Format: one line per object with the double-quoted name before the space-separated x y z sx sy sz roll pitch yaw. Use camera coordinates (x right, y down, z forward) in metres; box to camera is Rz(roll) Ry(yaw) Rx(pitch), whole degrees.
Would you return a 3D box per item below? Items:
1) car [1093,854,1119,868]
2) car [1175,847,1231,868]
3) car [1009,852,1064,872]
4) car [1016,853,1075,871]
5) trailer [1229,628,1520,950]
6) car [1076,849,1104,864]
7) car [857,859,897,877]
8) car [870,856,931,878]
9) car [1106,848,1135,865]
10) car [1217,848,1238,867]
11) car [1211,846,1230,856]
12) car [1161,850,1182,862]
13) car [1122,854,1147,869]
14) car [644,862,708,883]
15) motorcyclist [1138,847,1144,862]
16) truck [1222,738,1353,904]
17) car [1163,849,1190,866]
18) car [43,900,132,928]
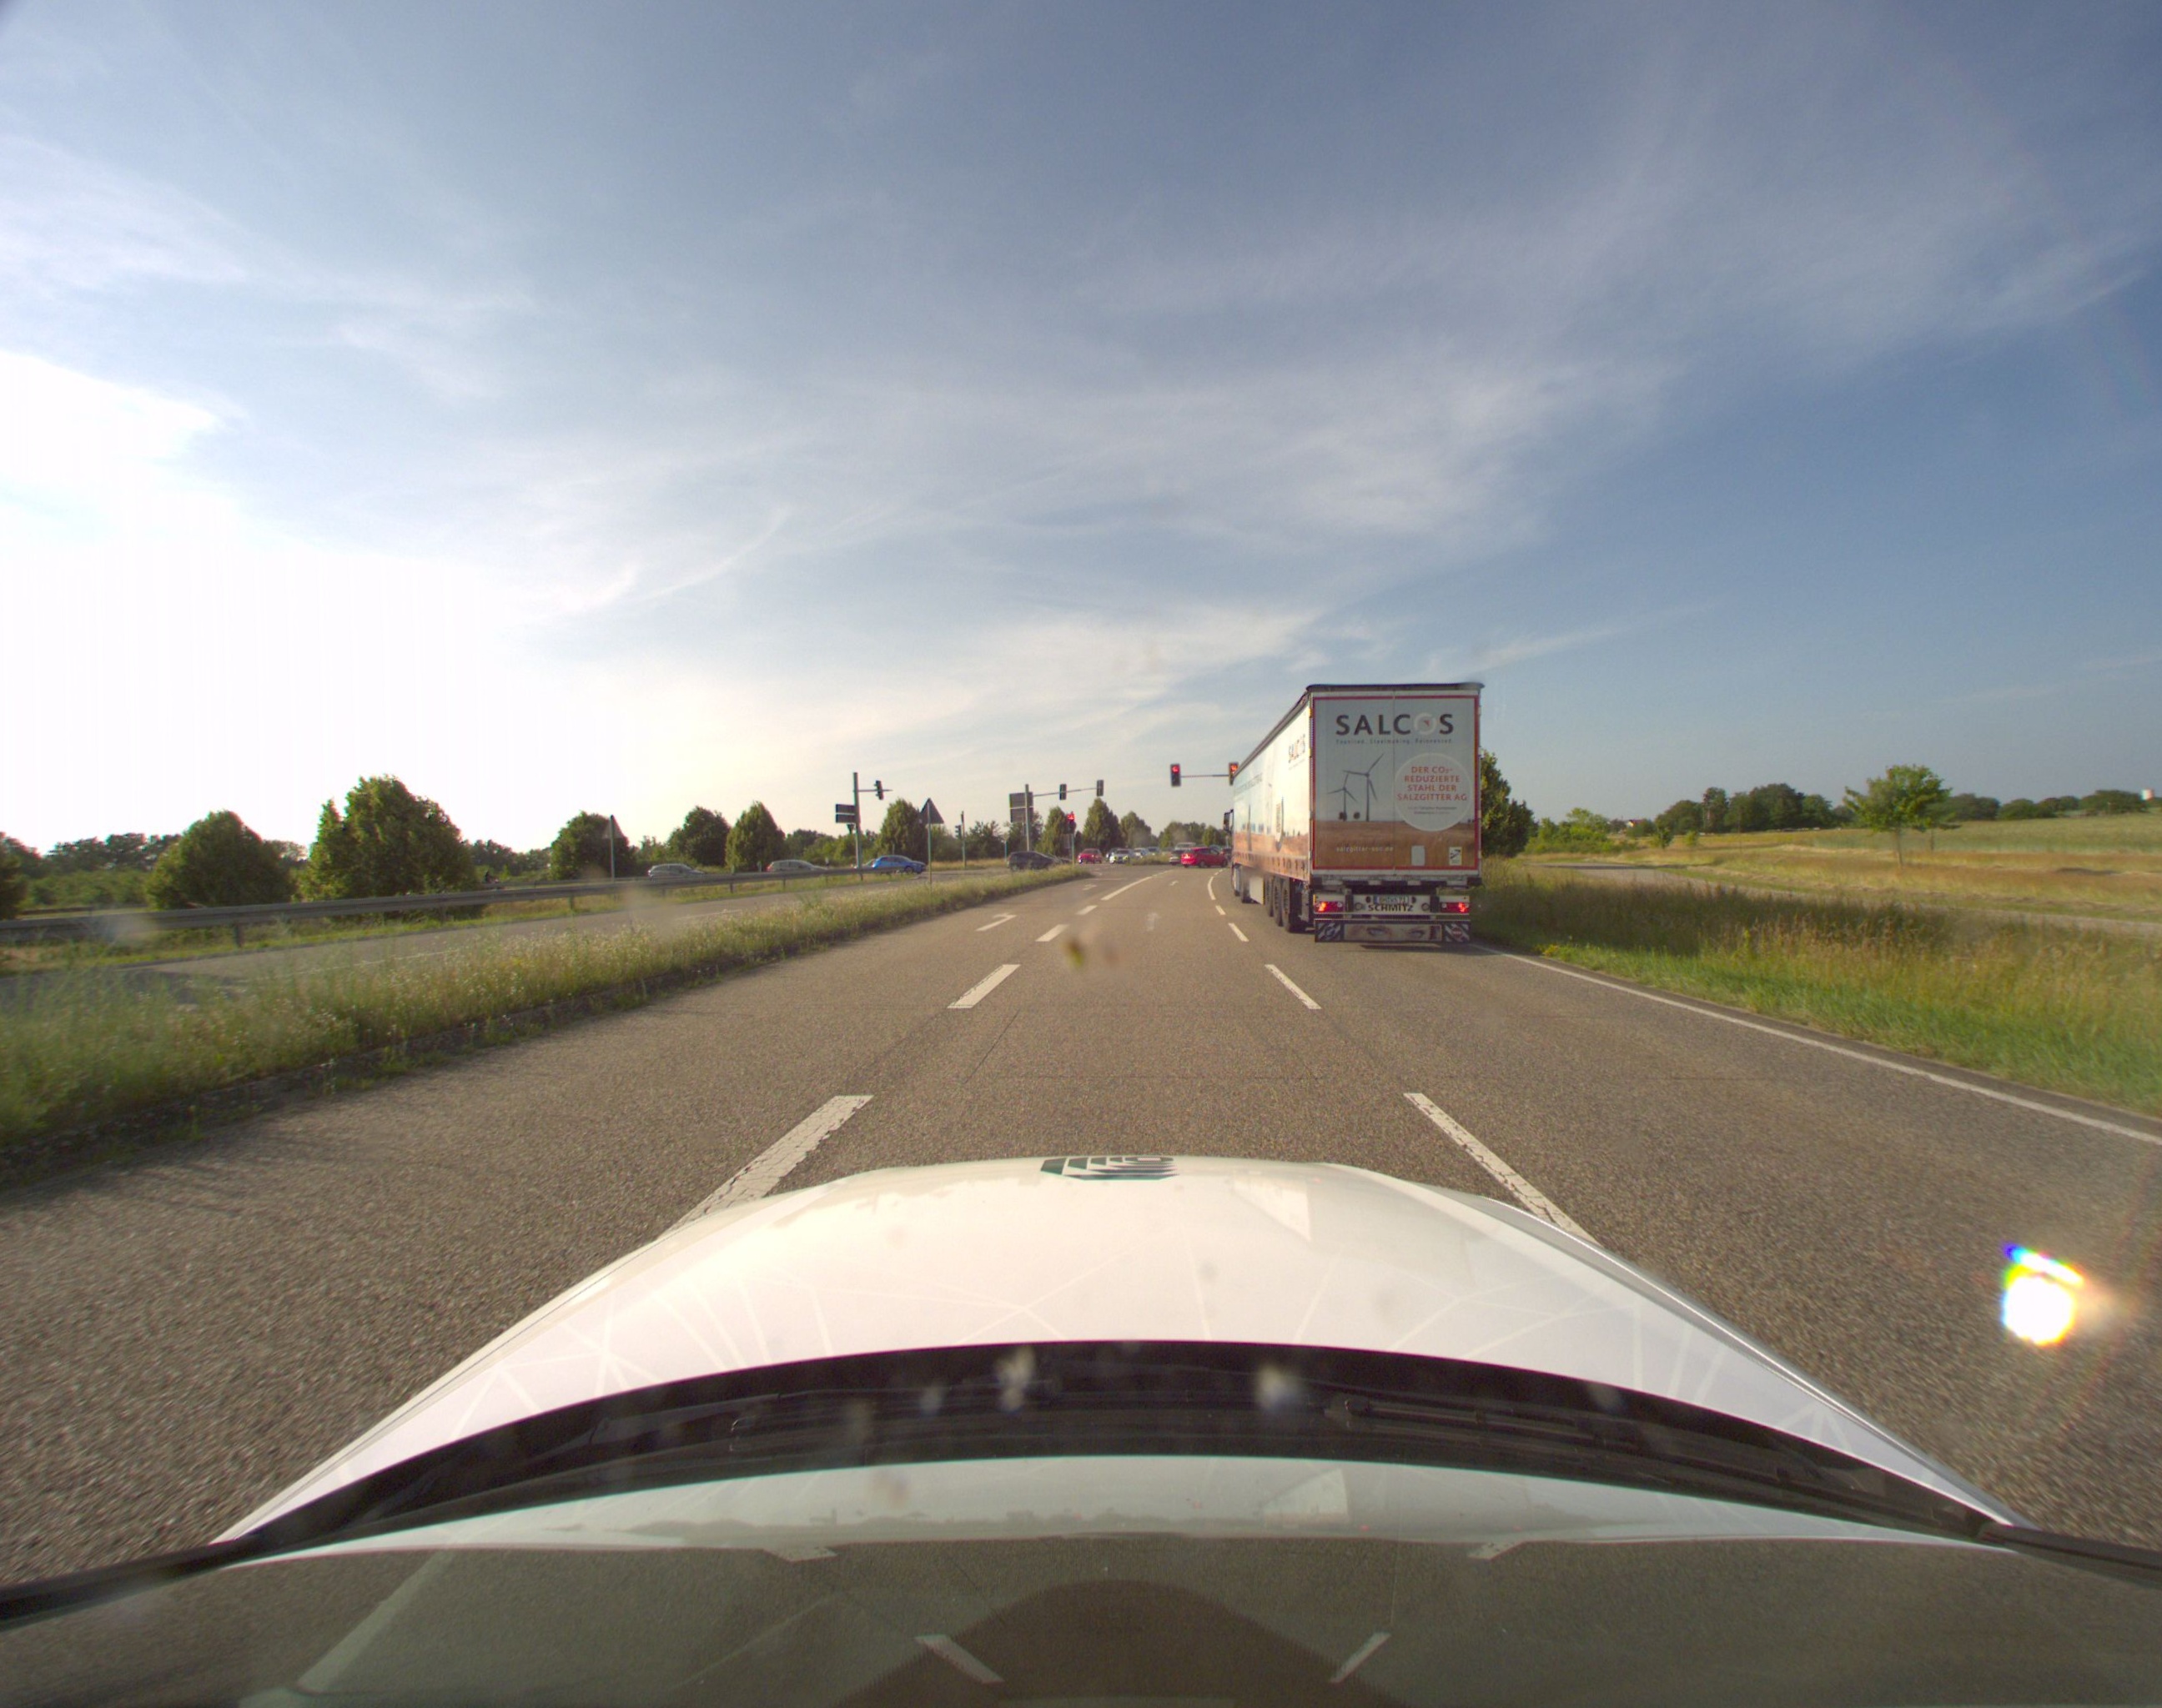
"car" 2.702 0.712 87.844 1.772 1.433 4.068 -2 0 16
"car" 9.613 0.310 64.082 4.298 1.565 1.880 0 -1 -38
"car" -3.150 0.598 58.629 3.769 1.416 1.921 -1 -1 1
"car" -2.753 0.619 63.868 4.236 1.323 1.921 -1 -1 11
"trailer" 5.478 -0.942 18.517 3.264 4.681 13.172 -1 0 7
"car" 0.913 0.247 81.702 1.707 1.488 3.821 -2 0 17
"car" -18.496 1.229 73.673 3.200 1.492 1.763 -1 0 -26
"car" -13.310 0.941 60.048 3.944 1.492 1.785 -1 0 13
"car" 3.860 0.223 79.108 1.772 1.488 4.671 -2 0 16
"car" 15.399 0.412 85.457 1.895 1.916 4.293 -1 -1 13
"car" 21.083 -0.436 122.997 1.770 1.385 4.075 -2 0 25
"car" 10.902 0.205 98.179 1.772 1.385 4.068 -2 0 16
"car" 5.729 0.804 86.606 1.772 1.433 4.327 -2 0 16
"car" -31.532 1.443 63.421 4.157 1.605 1.795 -1 -1 9
"motorcyclist" 7.543 0.038 102.908 0.658 1.817 0.607 -2 0 8
"truck" 6.349 -0.927 25.995 3.283 4.657 5.743 -1 0 7
"car" 8.302 0.345 70.507 1.823 1.377 4.293 -1 -1 13
"car" -79.311 4.771 65.096 4.004 2.014 1.984 0 -1 -24
